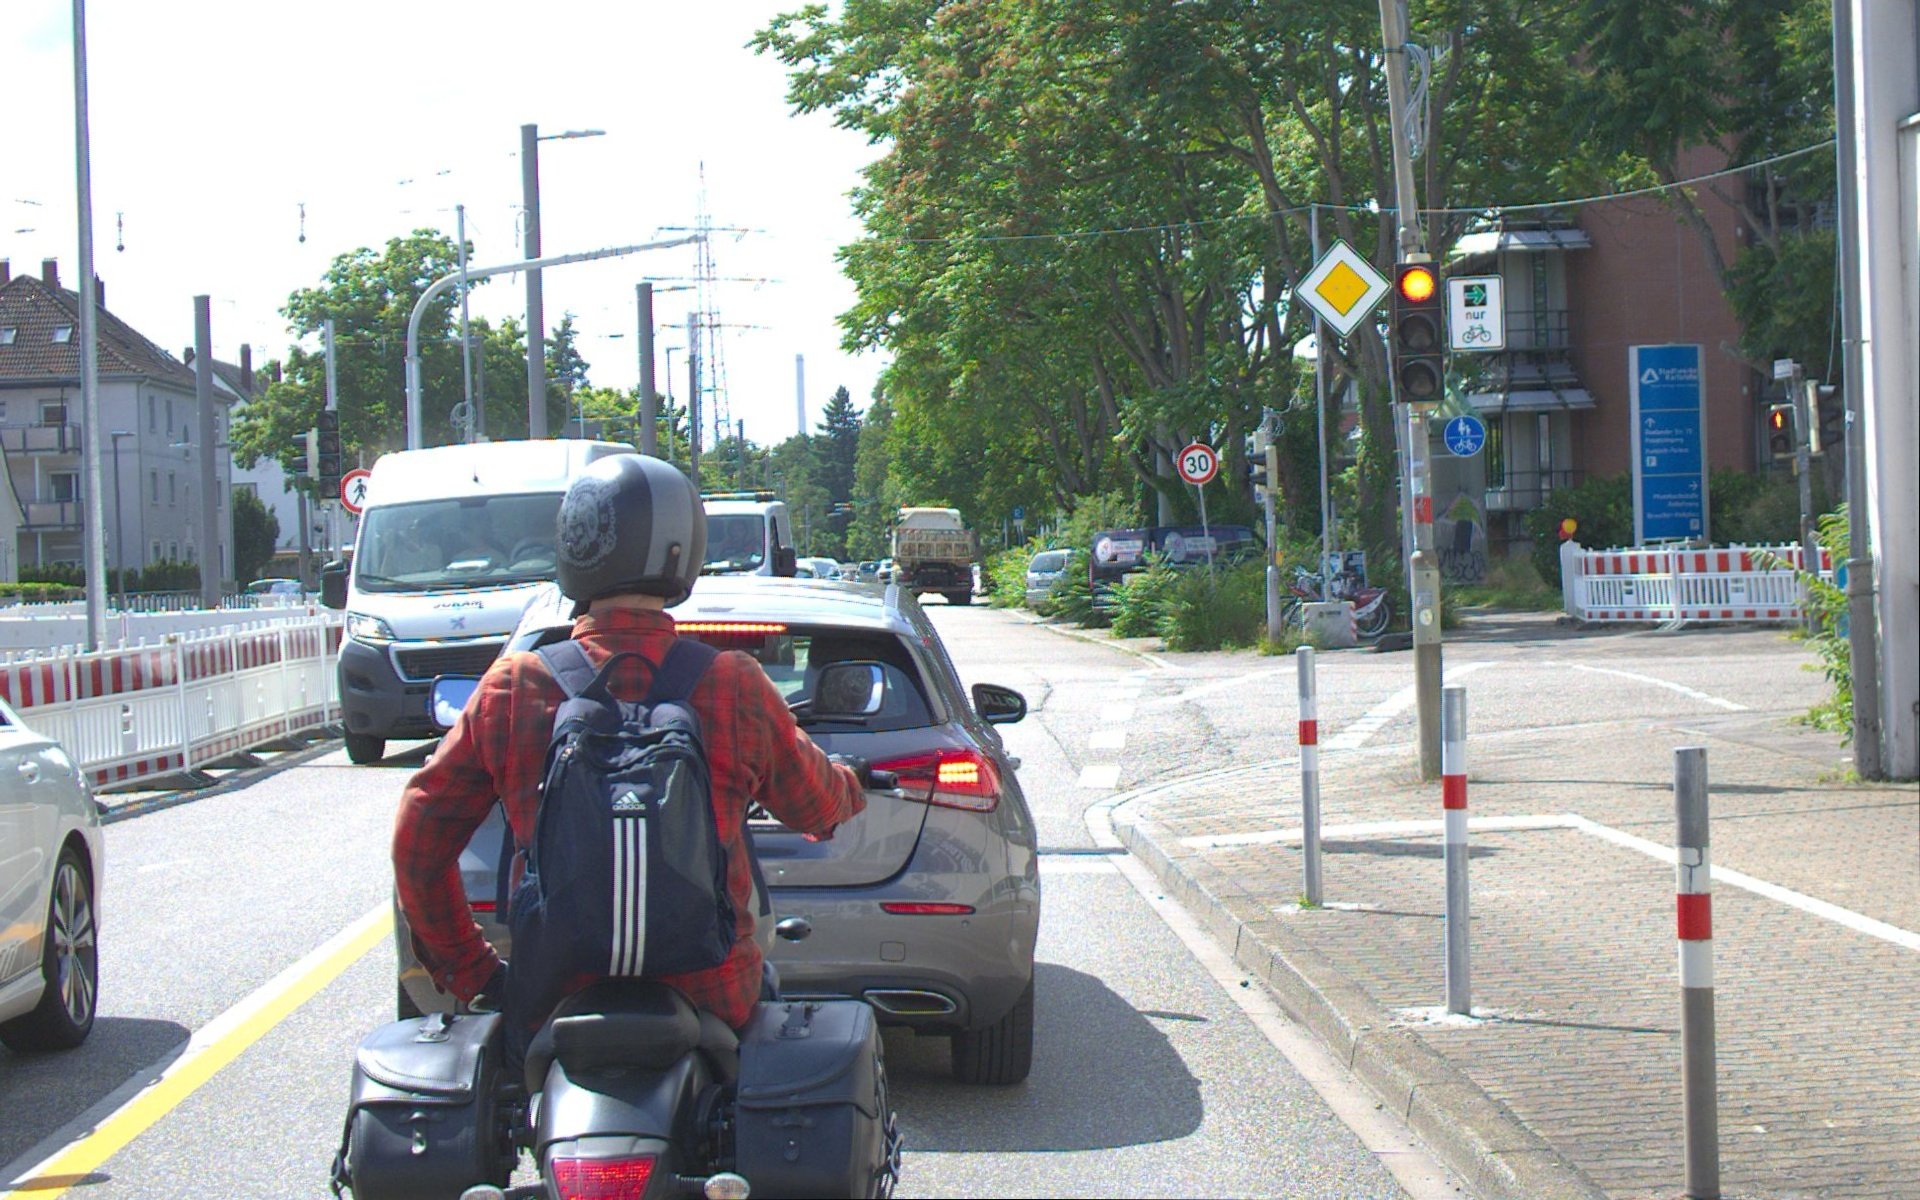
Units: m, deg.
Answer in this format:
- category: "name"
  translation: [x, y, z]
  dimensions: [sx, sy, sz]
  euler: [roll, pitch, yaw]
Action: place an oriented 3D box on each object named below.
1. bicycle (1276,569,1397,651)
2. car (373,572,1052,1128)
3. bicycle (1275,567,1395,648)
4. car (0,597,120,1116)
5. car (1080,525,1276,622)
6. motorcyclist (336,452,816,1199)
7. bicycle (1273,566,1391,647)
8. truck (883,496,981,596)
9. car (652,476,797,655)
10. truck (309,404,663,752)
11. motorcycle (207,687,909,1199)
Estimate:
- category: "bicycle"
  translation: [5.394, 0.136, 49.332]
  dimensions: [1.708, 1.168, 0.438]
  euler: [0, 0, 4]
- category: "car"
  translation: [-0.838, 0.630, 10.892]
  dimensions: [1.731, 1.399, 4.087]
  euler: [1, 1, -6]
- category: "bicycle"
  translation: [5.436, 0.112, 49.887]
  dimensions: [1.708, 1.168, 0.438]
  euler: [0, 0, 4]
- category: "car"
  translation: [-3.542, 0.750, 8.954]
  dimensions: [1.744, 1.432, 4.084]
  euler: [-3, 0, -1]
- category: "car"
  translation: [4.429, -0.525, 69.525]
  dimensions: [1.802, 1.919, 3.990]
  euler: [0, 0, 44]
- category: "motorcyclist"
  translation: [-0.586, 0.579, 5.459]
  dimensions: [0.698, 1.599, 0.692]
  euler: [0, 0, -1]
- category: "bicycle"
  translation: [5.456, 0.093, 50.459]
  dimensions: [1.708, 1.168, 0.438]
  euler: [0, 0, 4]
- category: "truck"
  translation: [-0.870, -1.738, 113.267]
  dimensions: [2.967, 3.162, 7.764]
  euler: [0, 0, 1]
- category: "car"
  translation: [-2.906, -0.420, 42.958]
  dimensions: [1.589, 2.135, 3.627]
  euler: [0, 0, -1]
- category: "truck"
  translation: [-3.738, -0.257, 28.103]
  dimensions: [2.093, 2.468, 5.196]
  euler: [-3, 2, -1]
- category: "motorcycle"
  translation: [-0.572, 0.799, 5.871]
  dimensions: [0.942, 1.196, 2.473]
  euler: [0, 1, -1]
